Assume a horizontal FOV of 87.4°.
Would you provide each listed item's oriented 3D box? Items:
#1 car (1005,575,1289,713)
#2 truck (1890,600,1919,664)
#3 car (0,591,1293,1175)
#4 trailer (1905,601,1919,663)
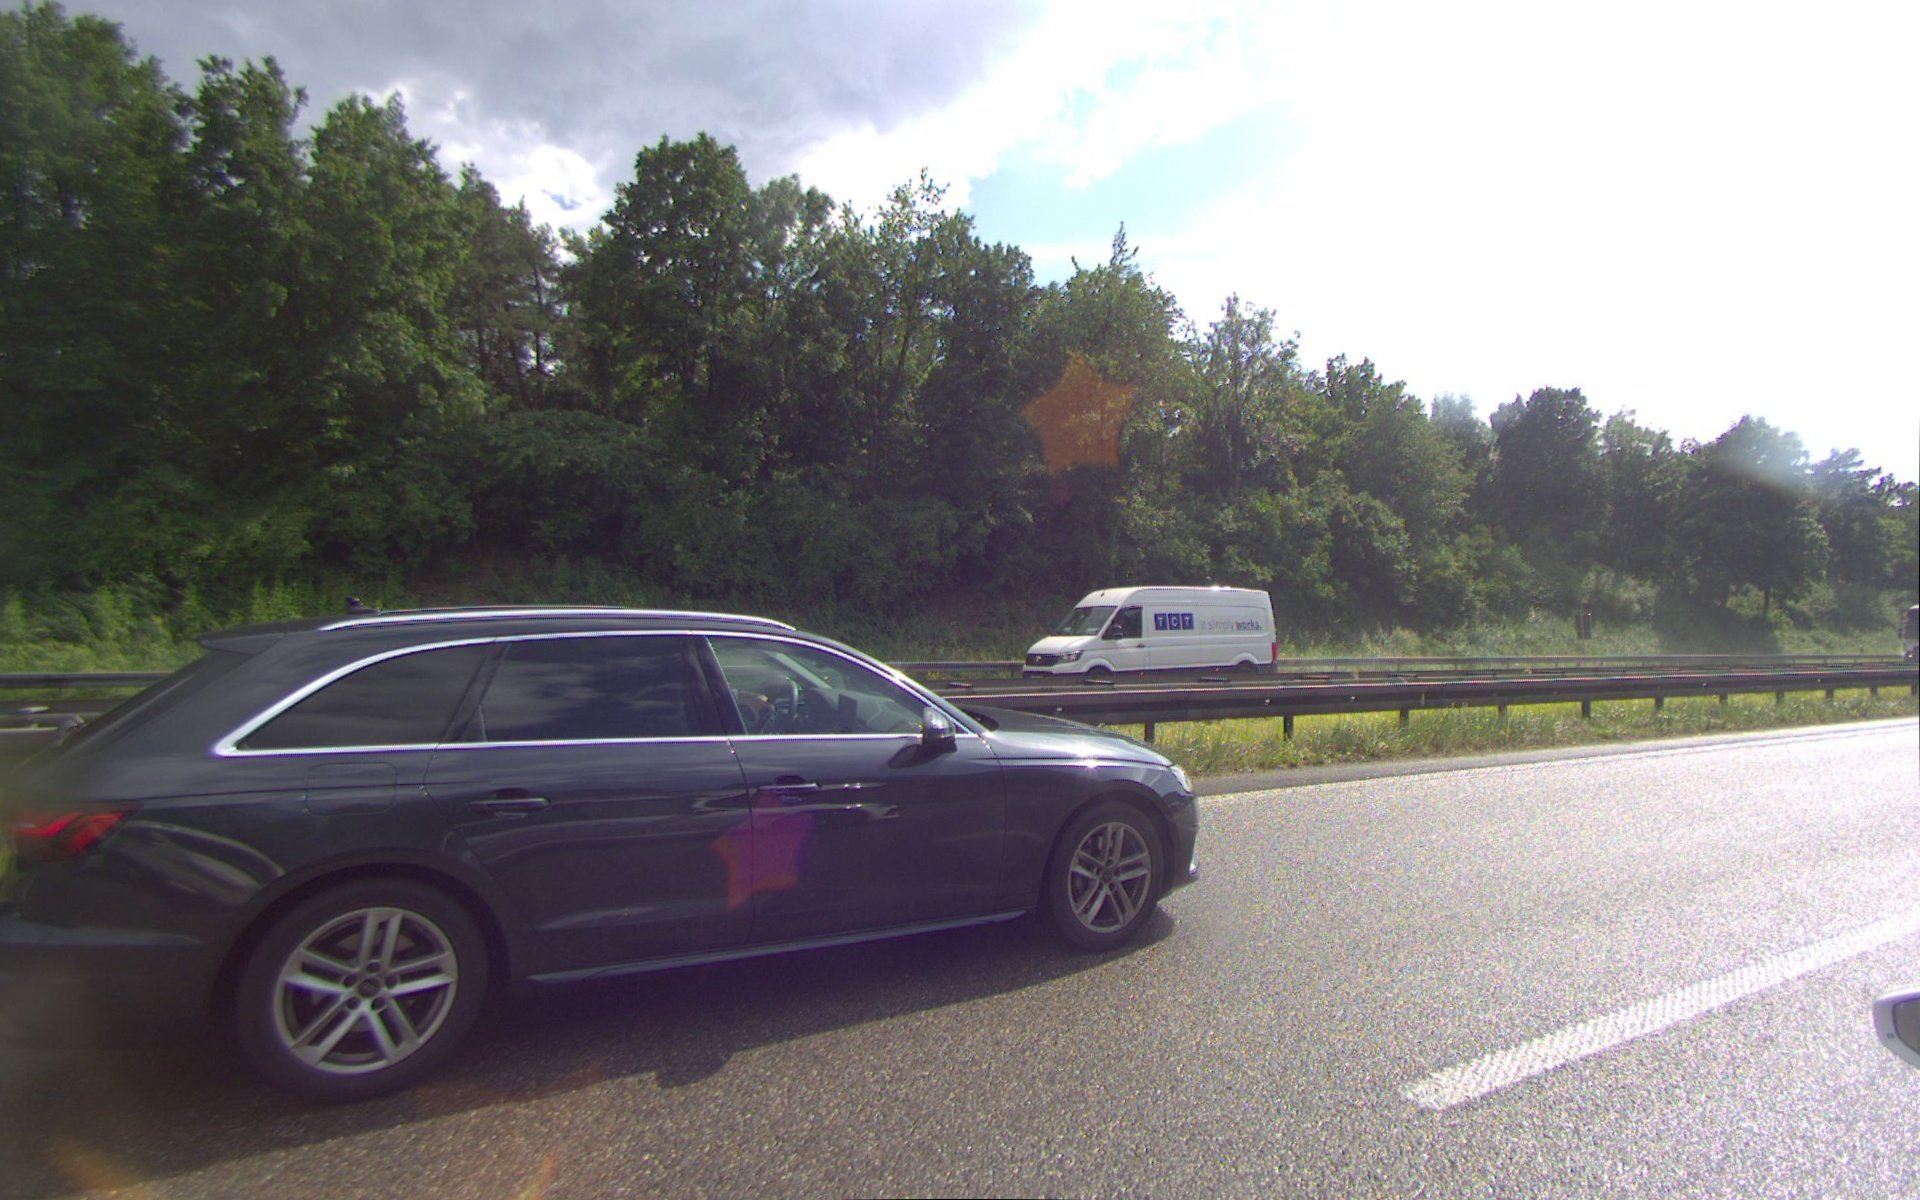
[{"bbox_3d":[4.567,0.995,23.883,6.852,2.908,2.251,2,0,-31],"label":"car"},{"bbox_3d":[61.393,2.065,62.654,6.781,3.883,2.977,2,0,-29],"label":"truck"},{"bbox_3d":[-0.929,0.750,4.359,4.782,1.437,1.786,2,0,-30],"label":"car"},{"bbox_3d":[68.317,2.268,66.604,17.734,3.883,2.977,2,0,-29],"label":"trailer"}]
